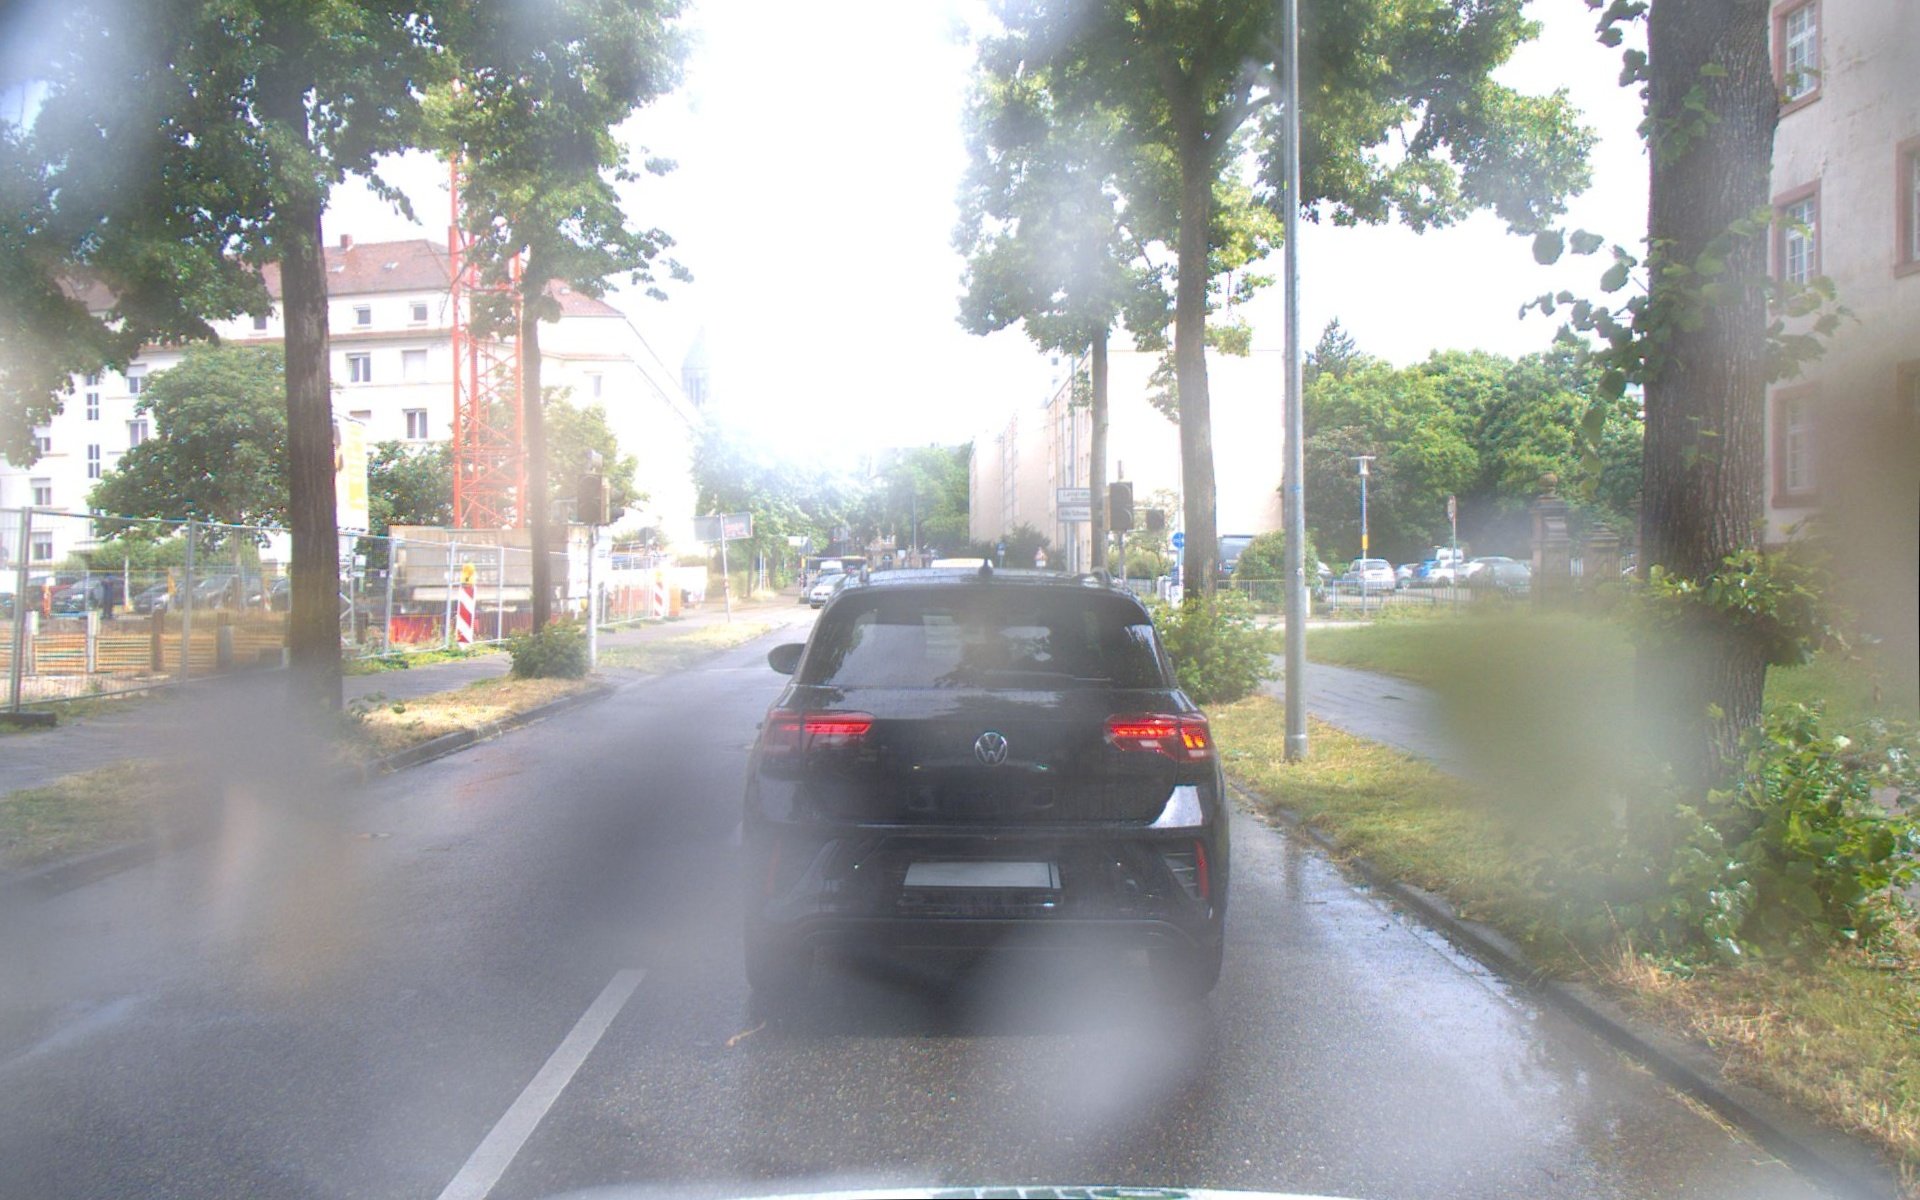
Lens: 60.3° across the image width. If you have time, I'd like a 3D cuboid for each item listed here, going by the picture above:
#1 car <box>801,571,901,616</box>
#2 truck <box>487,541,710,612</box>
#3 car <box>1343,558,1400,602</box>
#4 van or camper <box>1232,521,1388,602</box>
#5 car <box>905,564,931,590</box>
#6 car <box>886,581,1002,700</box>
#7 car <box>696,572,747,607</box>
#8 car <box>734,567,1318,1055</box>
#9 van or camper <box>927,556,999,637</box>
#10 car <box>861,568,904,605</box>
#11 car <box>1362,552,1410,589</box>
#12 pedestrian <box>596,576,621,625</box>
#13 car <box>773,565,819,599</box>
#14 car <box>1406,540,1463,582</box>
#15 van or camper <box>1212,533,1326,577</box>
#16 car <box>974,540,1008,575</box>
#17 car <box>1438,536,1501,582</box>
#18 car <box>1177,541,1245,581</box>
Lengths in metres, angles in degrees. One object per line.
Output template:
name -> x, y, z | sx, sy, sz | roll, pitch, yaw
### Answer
car -> -4.688, -0.270, 71.047 | 3.884, 1.679, 1.741 | -4, 1, -31
truck -> -14.042, -0.949, 64.413 | 8.038, 2.702, 2.817 | 0, 2, 12
car -> 17.664, -0.874, 71.167 | 1.706, 1.713, 3.873 | -3, 1, 5
van or camper -> 12.149, -1.334, 57.624 | 4.931, 2.641, 2.167 | -1, 1, -2
car -> -2.655, -1.444, 104.212 | 1.559, 1.538, 3.730 | -4, 1, -2
car -> -0.199, 0.614, 27.493 | 1.645, 1.738, 3.911 | -3, 0, 2
car -> -11.652, -0.526, 81.000 | 1.557, 1.538, 3.734 | -3, 1, 5
car -> 0.194, 0.636, 7.258 | 1.856, 1.549, 4.000 | 0, 1, -1
van or camper -> 0.096, -0.131, 42.786 | 1.782, 1.981, 4.195 | 0, 1, 1
car -> -3.901, -0.683, 82.420 | 1.755, 1.713, 4.480 | -4, 1, -6
car -> 23.826, -1.643, 92.591 | 1.828, 1.889, 3.811 | -3, 1, 3
pedestrian -> -11.257, 0.009, 52.901 | 0.652, 1.511, 0.667 | -1, 2, -25
car -> -8.247, -0.928, 83.278 | 1.557, 1.538, 3.734 | -3, 1, 5
car -> 24.868, -2.048, 86.818 | 1.952, 2.048, 4.002 | -3, 1, 3
van or camper -> 13.993, -2.058, 75.137 | 4.775, 1.959, 2.131 | 0, 2, 0
car -> 1.917, -2.624, 103.136 | 1.953, 2.049, 3.999 | -1, 1, -1
car -> 25.044, -2.001, 81.483 | 1.952, 2.048, 4.002 | -3, 1, 3
car -> 12.879, -2.004, 84.967 | 3.335, 1.812, 1.761 | -3, 1, 8
